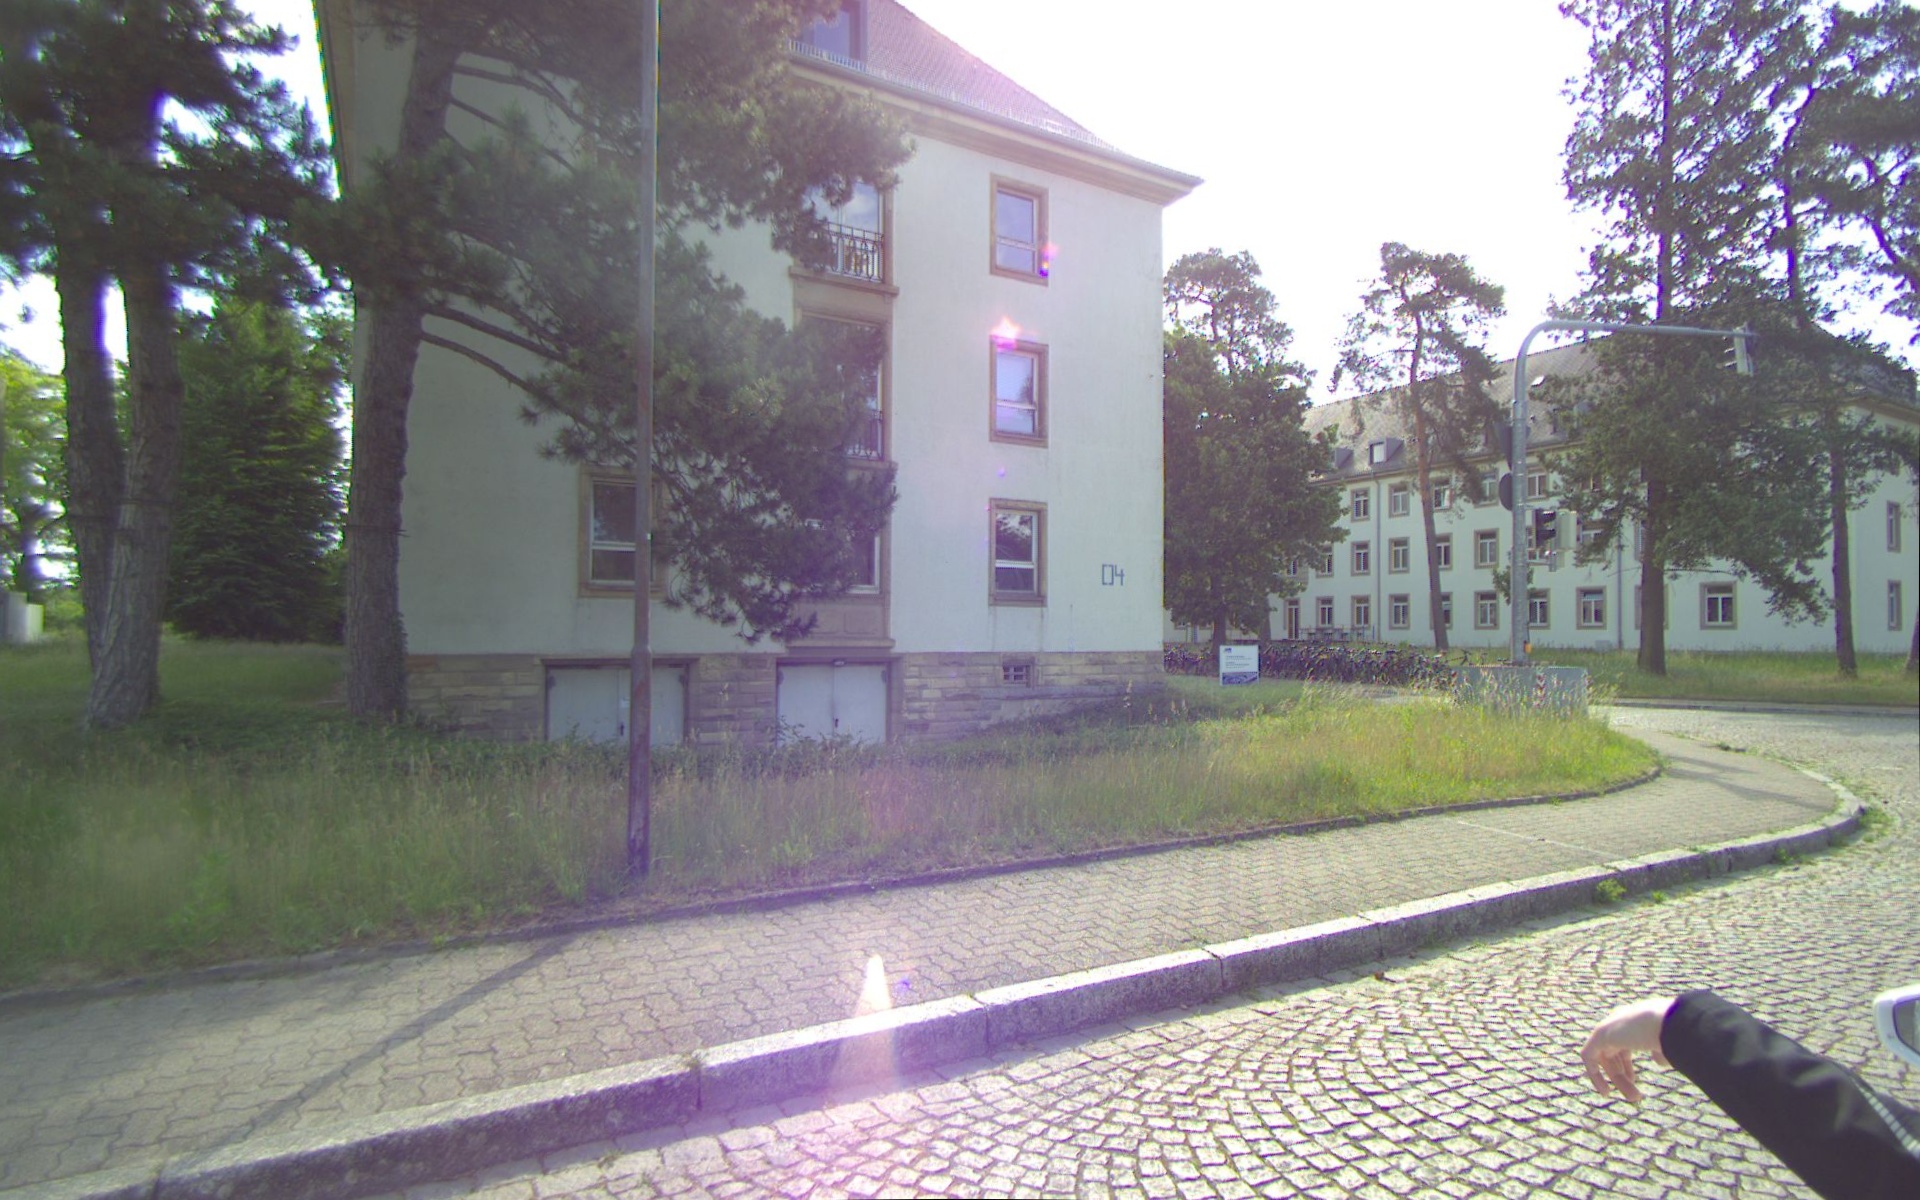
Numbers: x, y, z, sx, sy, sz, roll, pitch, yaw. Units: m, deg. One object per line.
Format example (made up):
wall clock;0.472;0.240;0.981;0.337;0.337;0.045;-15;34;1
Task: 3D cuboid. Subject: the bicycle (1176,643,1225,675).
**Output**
bicycle;9.383;2.305;39.228;1.792;1.236;0.516;0;-2;7

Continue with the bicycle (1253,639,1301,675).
bicycle;11.369;2.034;36.009;1.915;1.236;0.512;1;-2;-31

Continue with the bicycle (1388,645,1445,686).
bicycle;14.025;1.991;30.817;1.966;1.236;0.569;1;-2;-31

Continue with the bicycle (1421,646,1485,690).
bicycle;14.405;1.972;29.348;2.099;1.236;0.630;1;-2;-31

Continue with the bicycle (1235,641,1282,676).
bicycle;10.934;2.133;36.786;1.915;1.236;0.512;1;-2;-31

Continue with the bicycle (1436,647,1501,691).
bicycle;14.649;1.967;28.931;2.090;1.236;0.630;1;-2;-31

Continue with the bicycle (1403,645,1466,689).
bicycle;14.116;1.977;29.878;2.080;1.236;0.630;1;-2;-31

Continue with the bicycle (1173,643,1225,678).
bicycle;8.847;2.226;37.161;1.794;1.236;0.515;-1;-2;25

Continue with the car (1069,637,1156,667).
car;6.596;2.221;43.363;3.549;1.227;1.504;1;-2;-28

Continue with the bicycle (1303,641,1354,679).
bicycle;12.463;2.016;33.983;1.931;1.236;0.512;1;-2;-31

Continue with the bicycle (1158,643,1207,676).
bicycle;8.587;2.283;38.761;1.792;1.236;0.516;0;-2;7

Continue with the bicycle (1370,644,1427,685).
bicycle;13.769;2.002;31.534;2.005;1.236;0.576;1;-2;-31

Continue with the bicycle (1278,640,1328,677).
bicycle;11.952;2.025;34.958;1.915;1.236;0.512;1;-2;-31

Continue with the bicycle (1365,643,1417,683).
bicycle;13.847;2.013;32.246;1.878;1.236;0.545;1;-2;-31

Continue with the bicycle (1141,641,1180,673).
bicycle;8.166;2.302;40.782;1.813;1.236;0.510;2;-2;-38

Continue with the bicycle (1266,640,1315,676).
bicycle;11.677;2.030;35.484;1.915;1.236;0.512;1;-2;-31

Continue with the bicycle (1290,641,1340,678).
bicycle;12.200;2.020;34.472;1.915;1.236;0.512;1;-2;-31

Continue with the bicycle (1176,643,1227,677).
bicycle;9.084;2.233;37.765;1.794;1.236;0.515;-1;-2;25

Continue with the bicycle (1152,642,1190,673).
bicycle;8.477;2.298;40.263;1.814;1.236;0.510;2;-2;-41

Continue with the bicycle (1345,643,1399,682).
bicycle;13.363;2.012;32.553;1.992;1.236;0.512;1;-2;-31

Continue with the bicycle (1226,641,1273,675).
bicycle;10.721;2.137;37.180;1.915;1.236;0.512;1;-2;-31

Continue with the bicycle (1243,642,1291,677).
bicycle;11.144;2.130;36.413;1.915;1.236;0.512;1;-2;-31

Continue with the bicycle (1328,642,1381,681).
bicycle;13.006;2.015;33.094;1.954;1.236;0.512;1;-2;-31

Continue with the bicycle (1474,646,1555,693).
bicycle;15.277;1.890;27.724;0.627;1.236;1.936;1;-2;-29

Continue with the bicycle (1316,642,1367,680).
bicycle;12.748;2.015;33.542;1.954;1.236;0.512;1;-2;-31
